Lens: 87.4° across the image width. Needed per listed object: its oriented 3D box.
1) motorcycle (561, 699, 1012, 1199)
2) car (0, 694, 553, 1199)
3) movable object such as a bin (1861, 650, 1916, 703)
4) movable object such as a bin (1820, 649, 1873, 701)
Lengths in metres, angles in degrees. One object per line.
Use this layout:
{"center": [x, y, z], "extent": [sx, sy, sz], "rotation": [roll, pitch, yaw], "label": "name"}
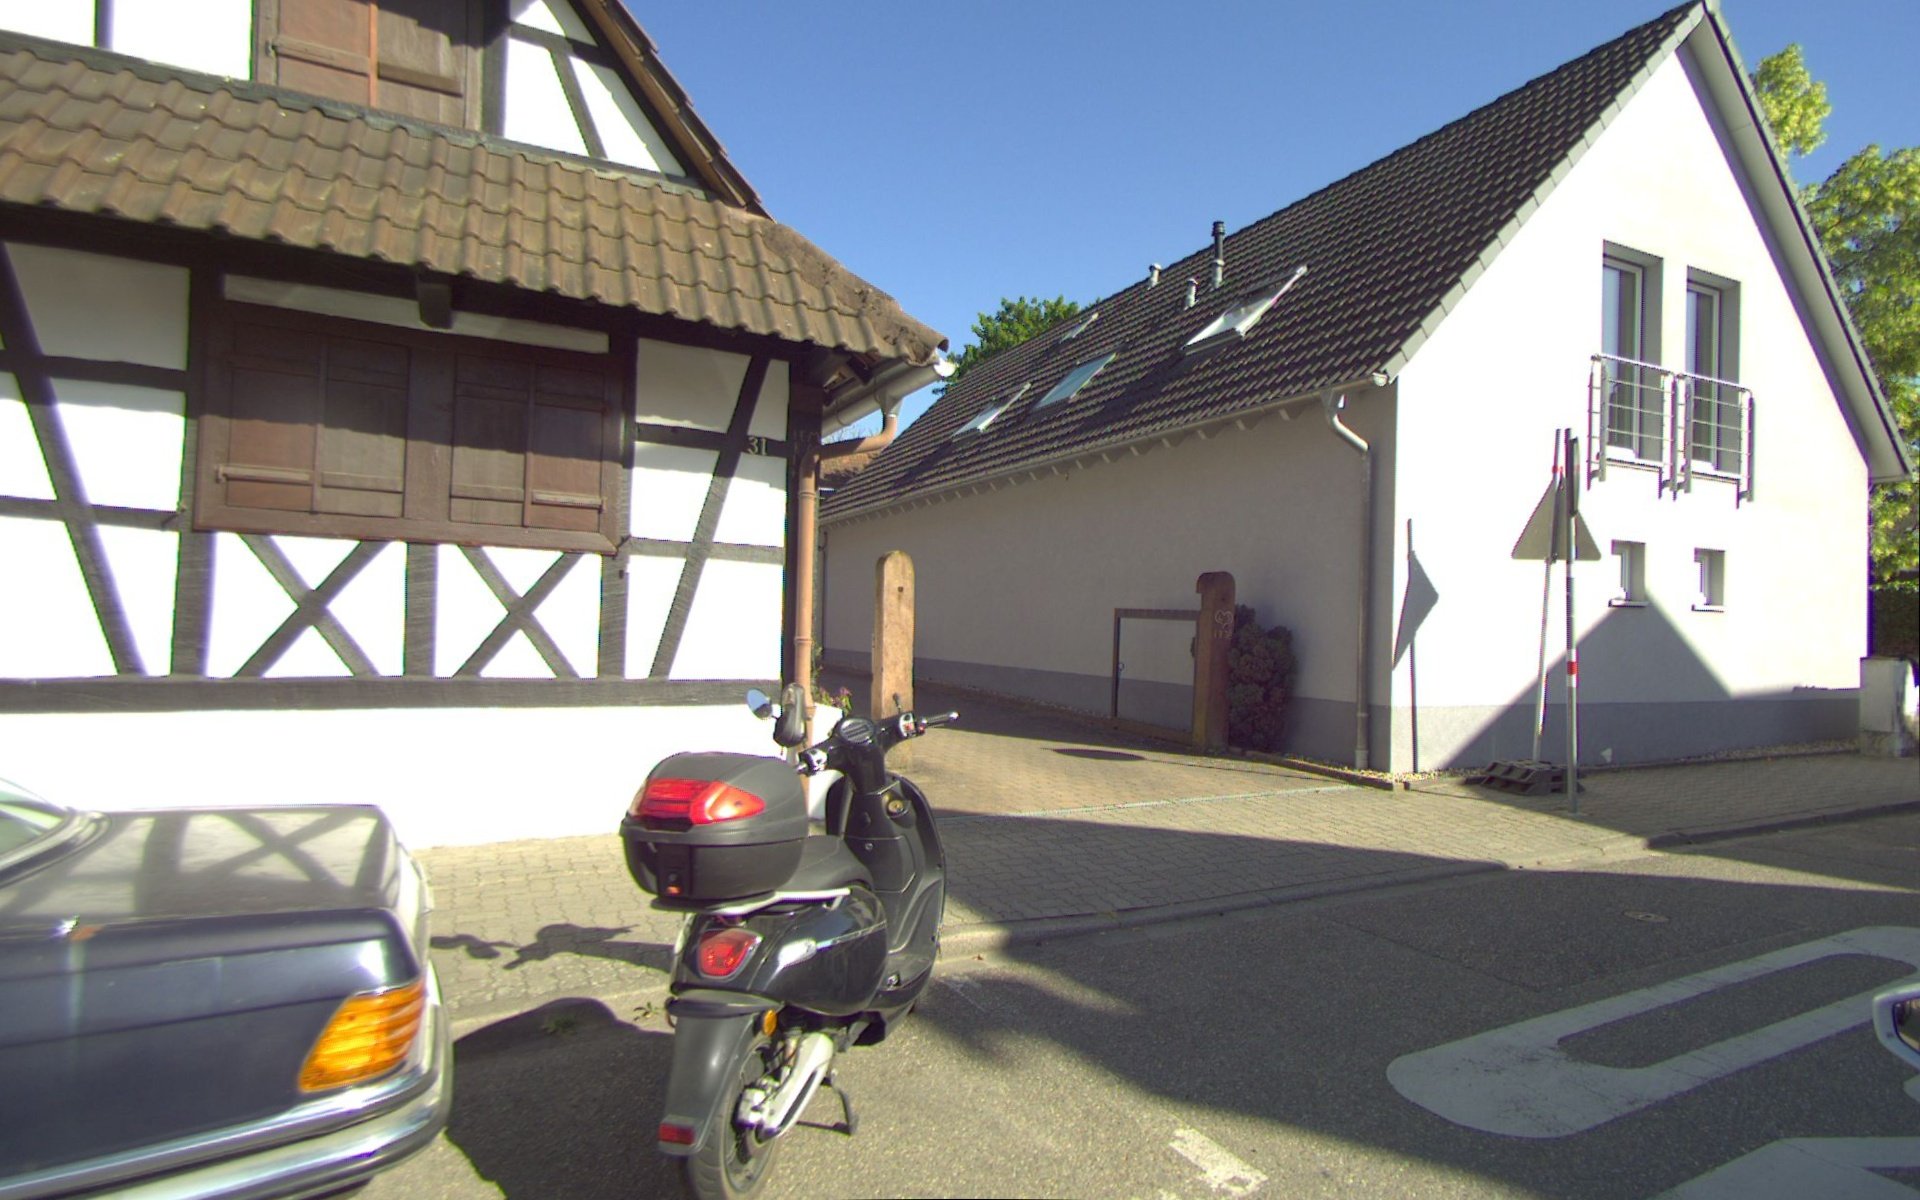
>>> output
{"center": [-0.328, 1.005, 3.057], "extent": [0.614, 1.248, 1.996], "rotation": [-1, -1, 13], "label": "motorcycle"}
{"center": [-3.345, 0.950, 1.344], "extent": [4.979, 1.424, 1.835], "rotation": [1, -2, -31], "label": "car"}
{"center": [17.169, 1.413, 18.573], "extent": [0.500, 0.946, 0.589], "rotation": [2, -1, -21], "label": "movable object such as a bin"}
{"center": [16.907, 1.420, 19.160], "extent": [0.500, 0.946, 0.589], "rotation": [2, -1, -21], "label": "movable object such as a bin"}
